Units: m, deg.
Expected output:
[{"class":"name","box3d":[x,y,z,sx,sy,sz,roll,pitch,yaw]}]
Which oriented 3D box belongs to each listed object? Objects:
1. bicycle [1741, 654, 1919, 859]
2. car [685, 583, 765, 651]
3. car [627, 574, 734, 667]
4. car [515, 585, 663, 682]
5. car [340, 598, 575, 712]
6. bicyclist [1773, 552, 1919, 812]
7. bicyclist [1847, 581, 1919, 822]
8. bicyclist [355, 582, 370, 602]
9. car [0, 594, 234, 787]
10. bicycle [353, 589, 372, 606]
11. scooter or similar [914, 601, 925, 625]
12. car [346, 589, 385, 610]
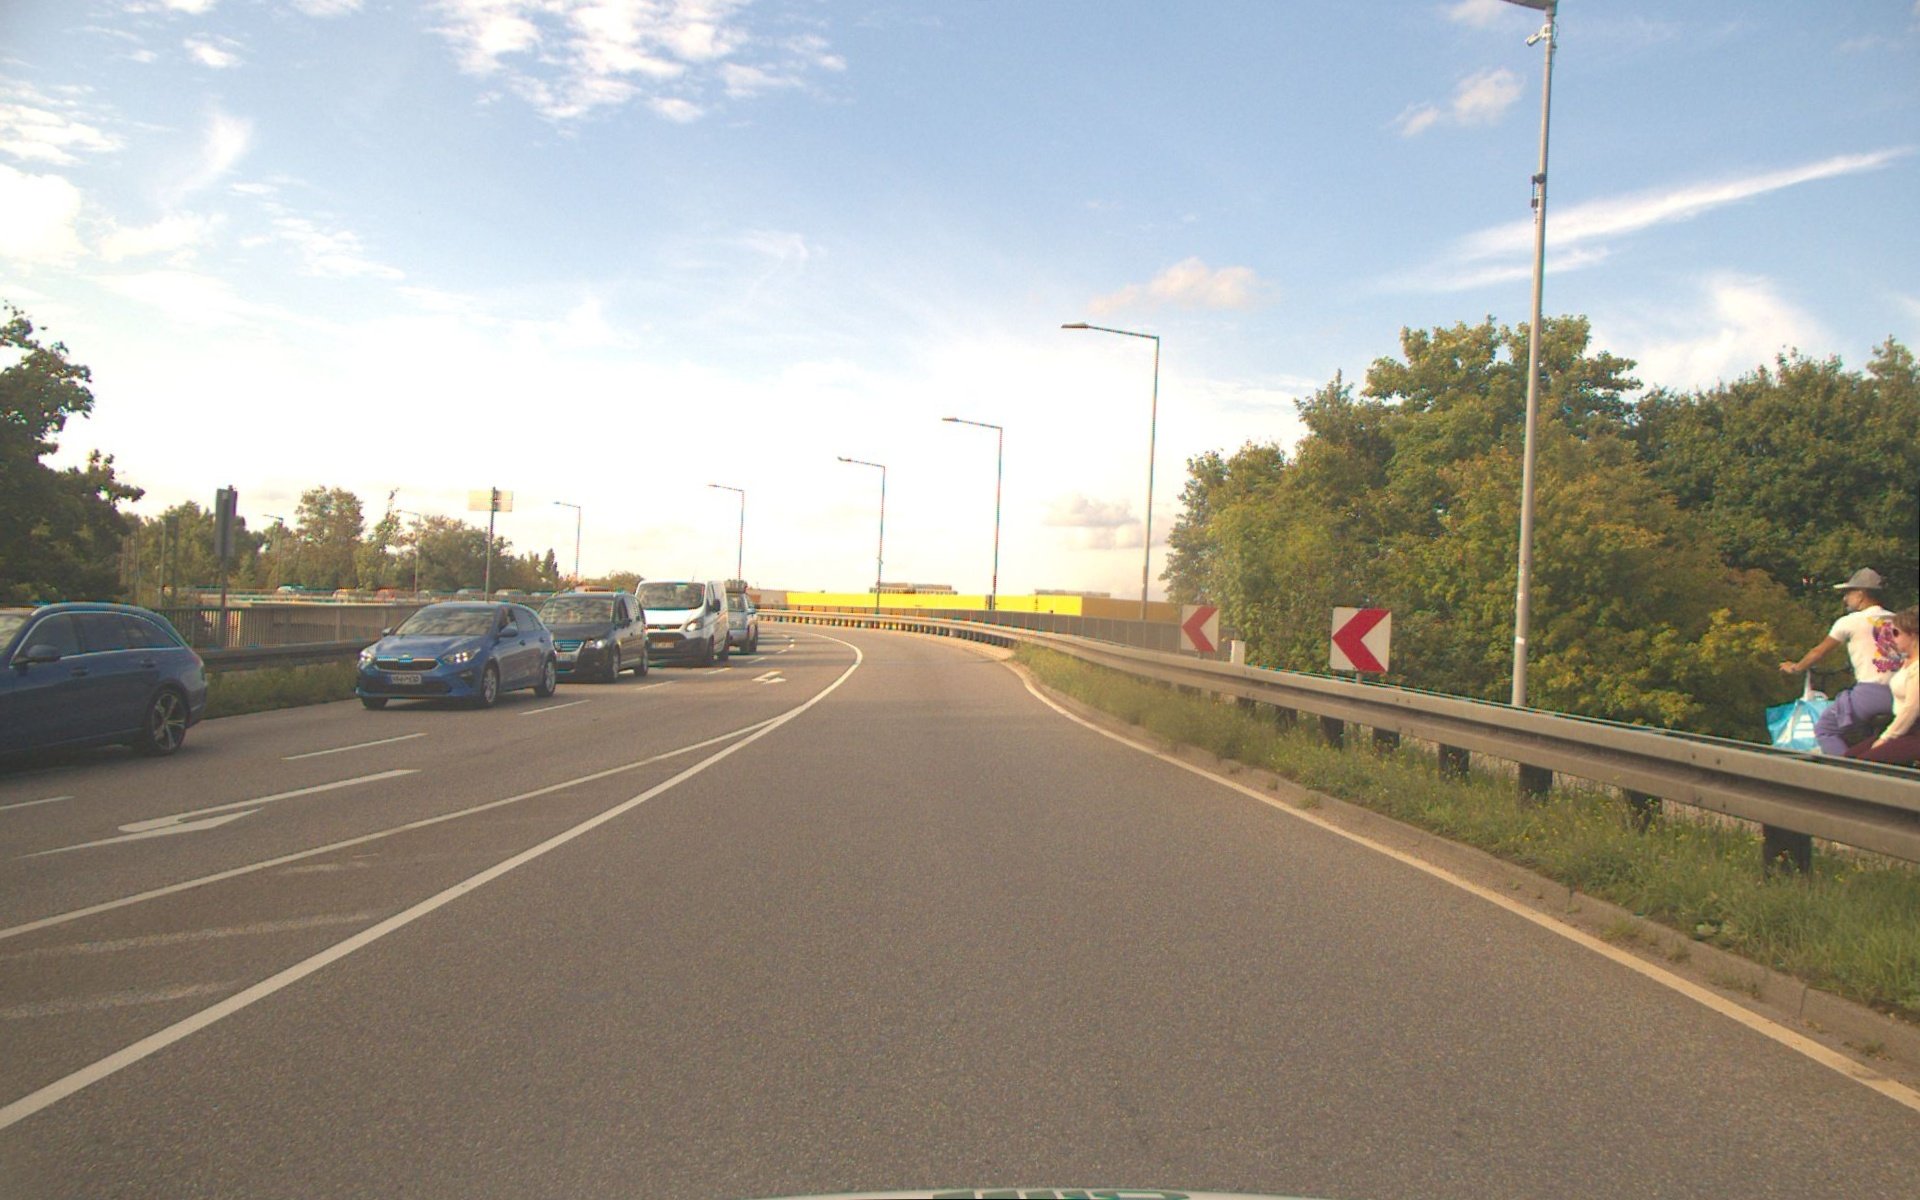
[{"class":"bicycle","box3d":[5.699,0.937,10.463,0.584,1.140,1.695,0,0,-6]},{"class":"car","box3d":[-6.388,0.446,45.345,1.738,1.776,3.836,0,0,-2]},{"class":"car","box3d":[-6.430,0.433,38.538,1.946,1.998,5.044,0,0,-4]},{"class":"car","box3d":[-6.853,0.569,30.975,1.710,1.683,4.453,0,0,1]},{"class":"car","box3d":[-7.145,0.717,24.025,1.853,1.473,4.363,0,0,3]},{"class":"bicyclist","box3d":[5.692,0.501,10.464,0.693,1.584,0.753,0,0,-6]},{"class":"bicyclist","box3d":[5.712,0.592,9.910,0.490,1.396,0.538,0,0,-6]},{"class":"bicyclist","box3d":[-49.038,-0.656,135.704,1.101,1.690,0.763,0,-1,45]},{"class":"car","box3d":[-8.520,0.730,14.517,1.775,1.547,4.768,0,0,6]},{"class":"bicycle","box3d":[-49.038,-0.205,135.686,0.761,1.355,1.884,1,0,-45]},{"class":"scooter or similar","box3d":[-1.968,0.625,80.084,0.261,1.182,1.183,1,0,-16]},{"class":"car","box3d":[-51.881,-0.032,144.336,3.771,1.776,1.767,1,0,44]}]
